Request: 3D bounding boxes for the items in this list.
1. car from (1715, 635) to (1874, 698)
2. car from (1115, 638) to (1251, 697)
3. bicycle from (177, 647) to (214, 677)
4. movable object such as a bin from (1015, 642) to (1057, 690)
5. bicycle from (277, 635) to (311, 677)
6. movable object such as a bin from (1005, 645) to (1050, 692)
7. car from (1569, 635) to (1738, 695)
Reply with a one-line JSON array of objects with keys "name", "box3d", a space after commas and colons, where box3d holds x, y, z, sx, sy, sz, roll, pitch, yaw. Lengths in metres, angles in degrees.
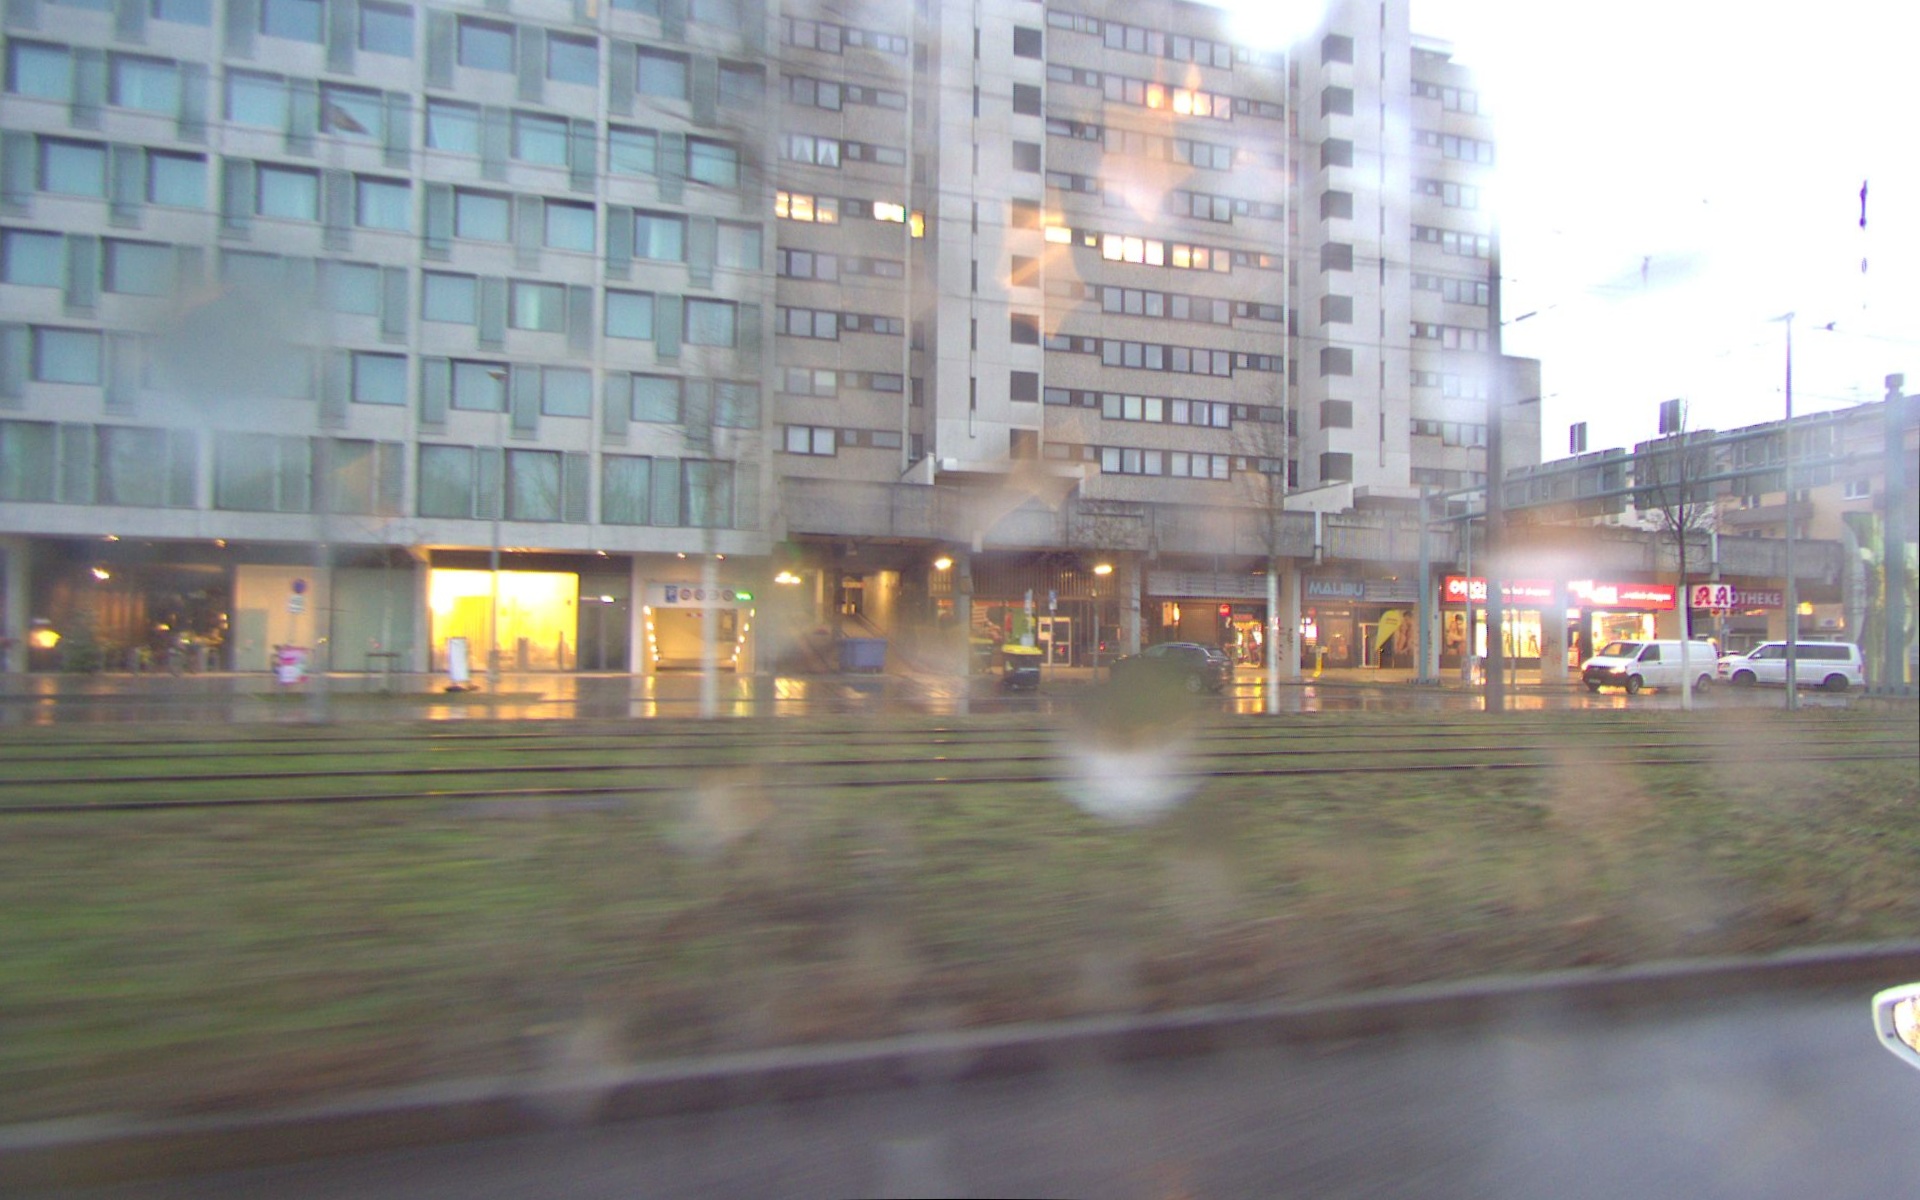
[{"name": "car", "box3d": [34.667, 2.716, 41.932, 4.745, 2.274, 1.996, 2, 0, 30]}, {"name": "car", "box3d": [7.540, 2.237, 34.187, 4.084, 1.715, 1.974, 1, 0, 43]}, {"name": "bicycle", "box3d": [-24.054, 1.948, 31.624, 0.458, 0.865, 1.345, 2, 0, -17]}, {"name": "movable object such as a bin", "box3d": [2.531, 2.204, 33.608, 0.999, 1.521, 1.045, 2, 0, -26]}, {"name": "bicycle", "box3d": [-21.733, 1.814, 32.793, 0.458, 1.255, 1.535, 2, 0, -17]}, {"name": "movable object such as a bin", "box3d": [2.156, 2.187, 32.204, 1.017, 1.445, 1.066, 2, 0, -26]}, {"name": "car", "box3d": [26.393, 2.458, 38.274, 5.466, 2.073, 1.996, 2, 0, -11]}]
